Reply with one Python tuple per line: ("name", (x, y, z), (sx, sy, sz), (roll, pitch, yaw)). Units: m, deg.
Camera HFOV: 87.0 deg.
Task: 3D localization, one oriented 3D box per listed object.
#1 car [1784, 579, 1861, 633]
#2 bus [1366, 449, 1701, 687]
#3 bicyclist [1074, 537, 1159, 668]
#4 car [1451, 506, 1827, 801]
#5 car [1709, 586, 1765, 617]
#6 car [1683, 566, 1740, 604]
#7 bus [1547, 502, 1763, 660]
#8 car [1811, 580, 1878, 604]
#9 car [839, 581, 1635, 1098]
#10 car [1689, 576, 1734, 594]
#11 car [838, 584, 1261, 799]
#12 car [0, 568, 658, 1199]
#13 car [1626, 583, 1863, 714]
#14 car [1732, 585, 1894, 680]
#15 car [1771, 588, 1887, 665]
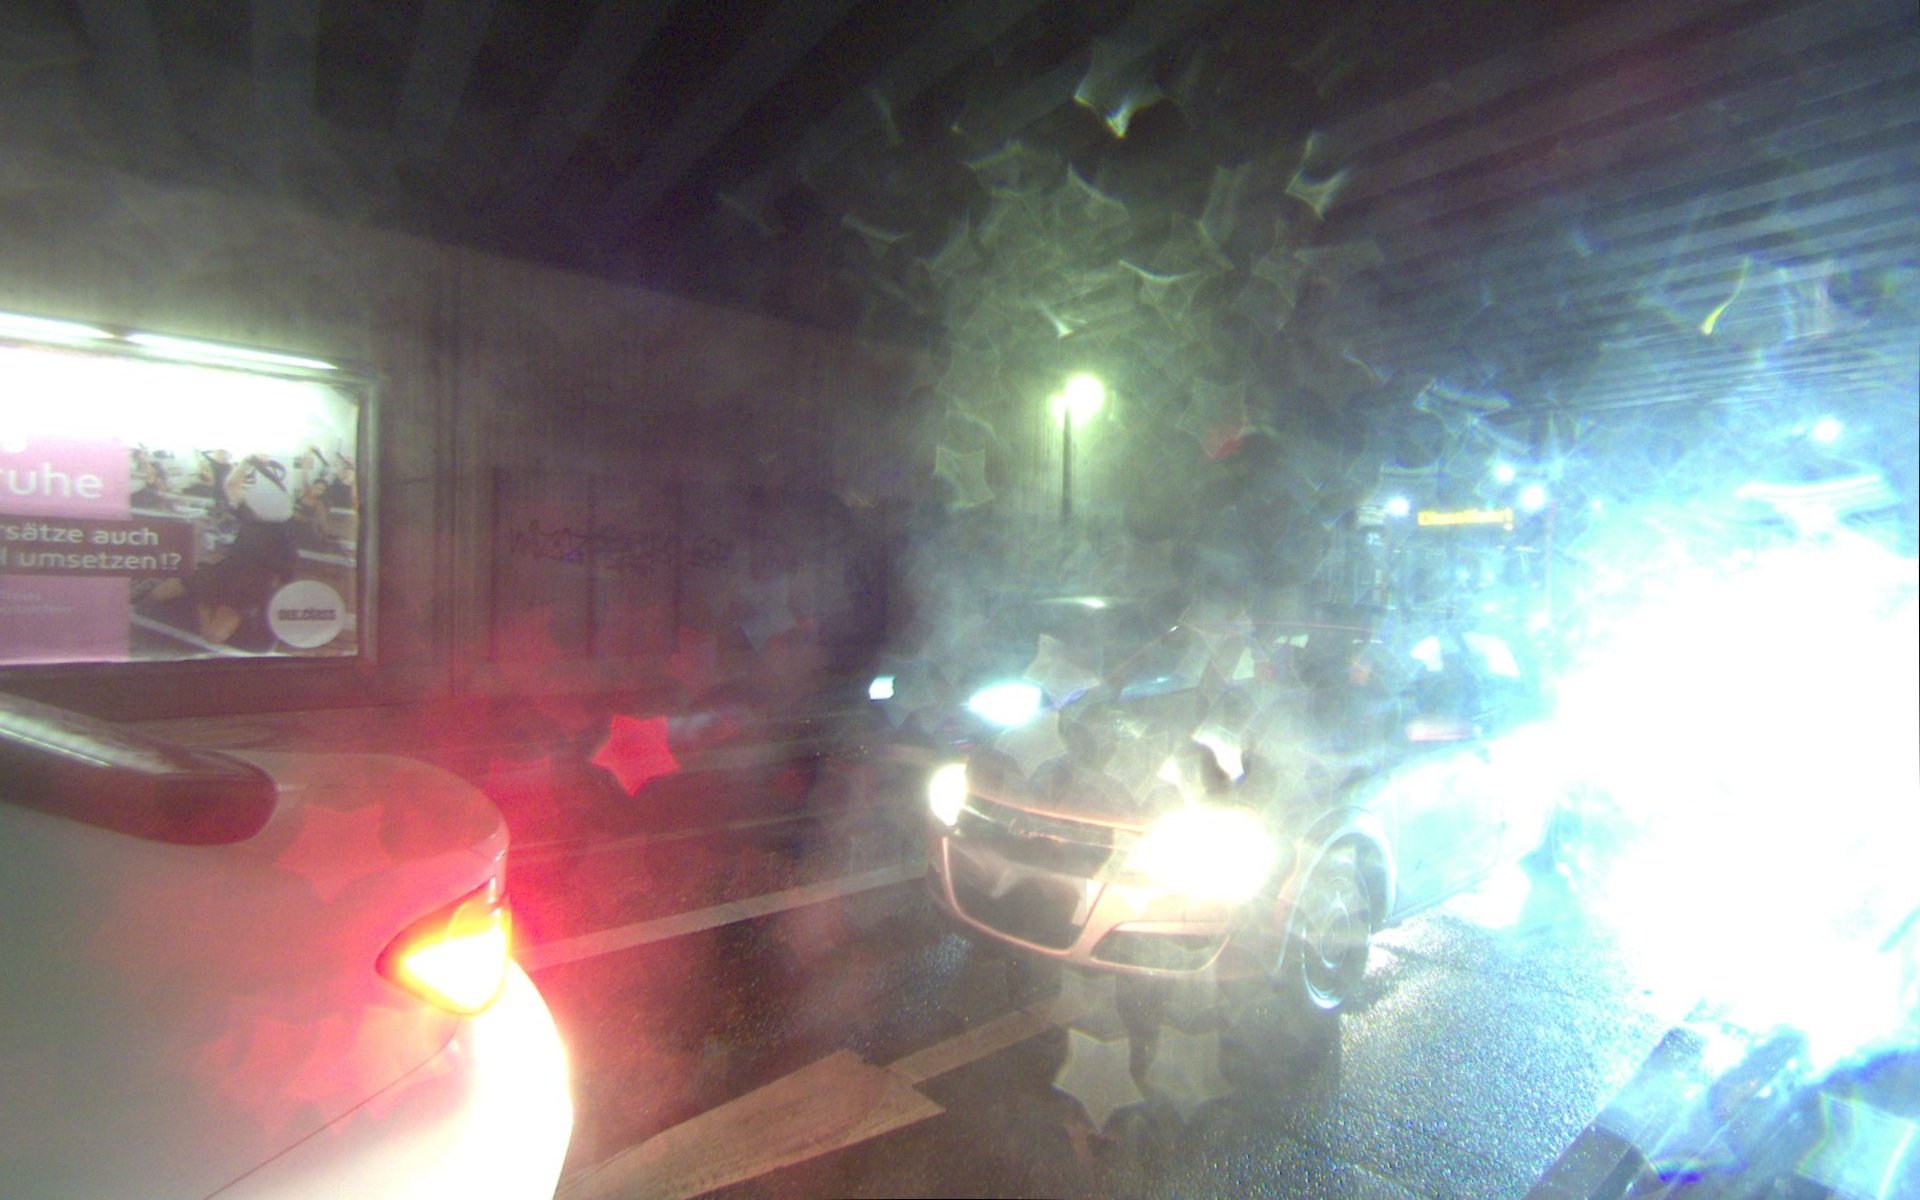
("car", (27.834, 0.158, 32.609), (1.737, 1.610, 3.938), (0, 0, 43))
("bus", (10.520, -0.420, 17.863), (2.770, 3.163, 9.604), (0, 0, 45))
("bicyclist", (2.212, 0.025, 14.326), (0.885, 1.784, 0.798), (0, 0, -41))
("car", (6.489, 0.358, 9.472), (4.274, 2.115, 1.996), (-1, 0, -43))
("car", (39.630, 0.052, 51.685), (1.868, 1.490, 3.954), (0, 0, 32))
("car", (32.029, -0.615, 43.191), (1.843, 1.503, 4.569), (2, 1, 36))
("bus", (17.245, -0.384, 24.734), (2.769, 3.163, 9.605), (0, 0, 44))
("car", (61.289, -0.538, 70.214), (1.972, 1.626, 3.979), (0, 0, 17))
("car", (1.566, 0.641, 4.822), (3.931, 1.384, 1.791), (-2, 2, -41))
("car", (68.145, -1.345, 91.842), (1.797, 1.625, 4.125), (0, 0, 14))
("car", (0.929, 0.595, 8.825), (1.750, 1.449, 3.700), (1, 1, 44))
("car", (-2.682, 0.684, 0.981), (4.273, 1.422, 1.719), (-1, 0, -41))
("car", (10.754, 0.549, 13.794), (3.701, 1.531, 1.867), (-1, 0, -41))
("car", (15.350, 0.496, 18.145), (3.930, 1.522, 1.628), (-1, 0, -41))
("car", (18.715, 0.497, 21.734), (1.678, 1.490, 3.937), (0, 0, 44))
